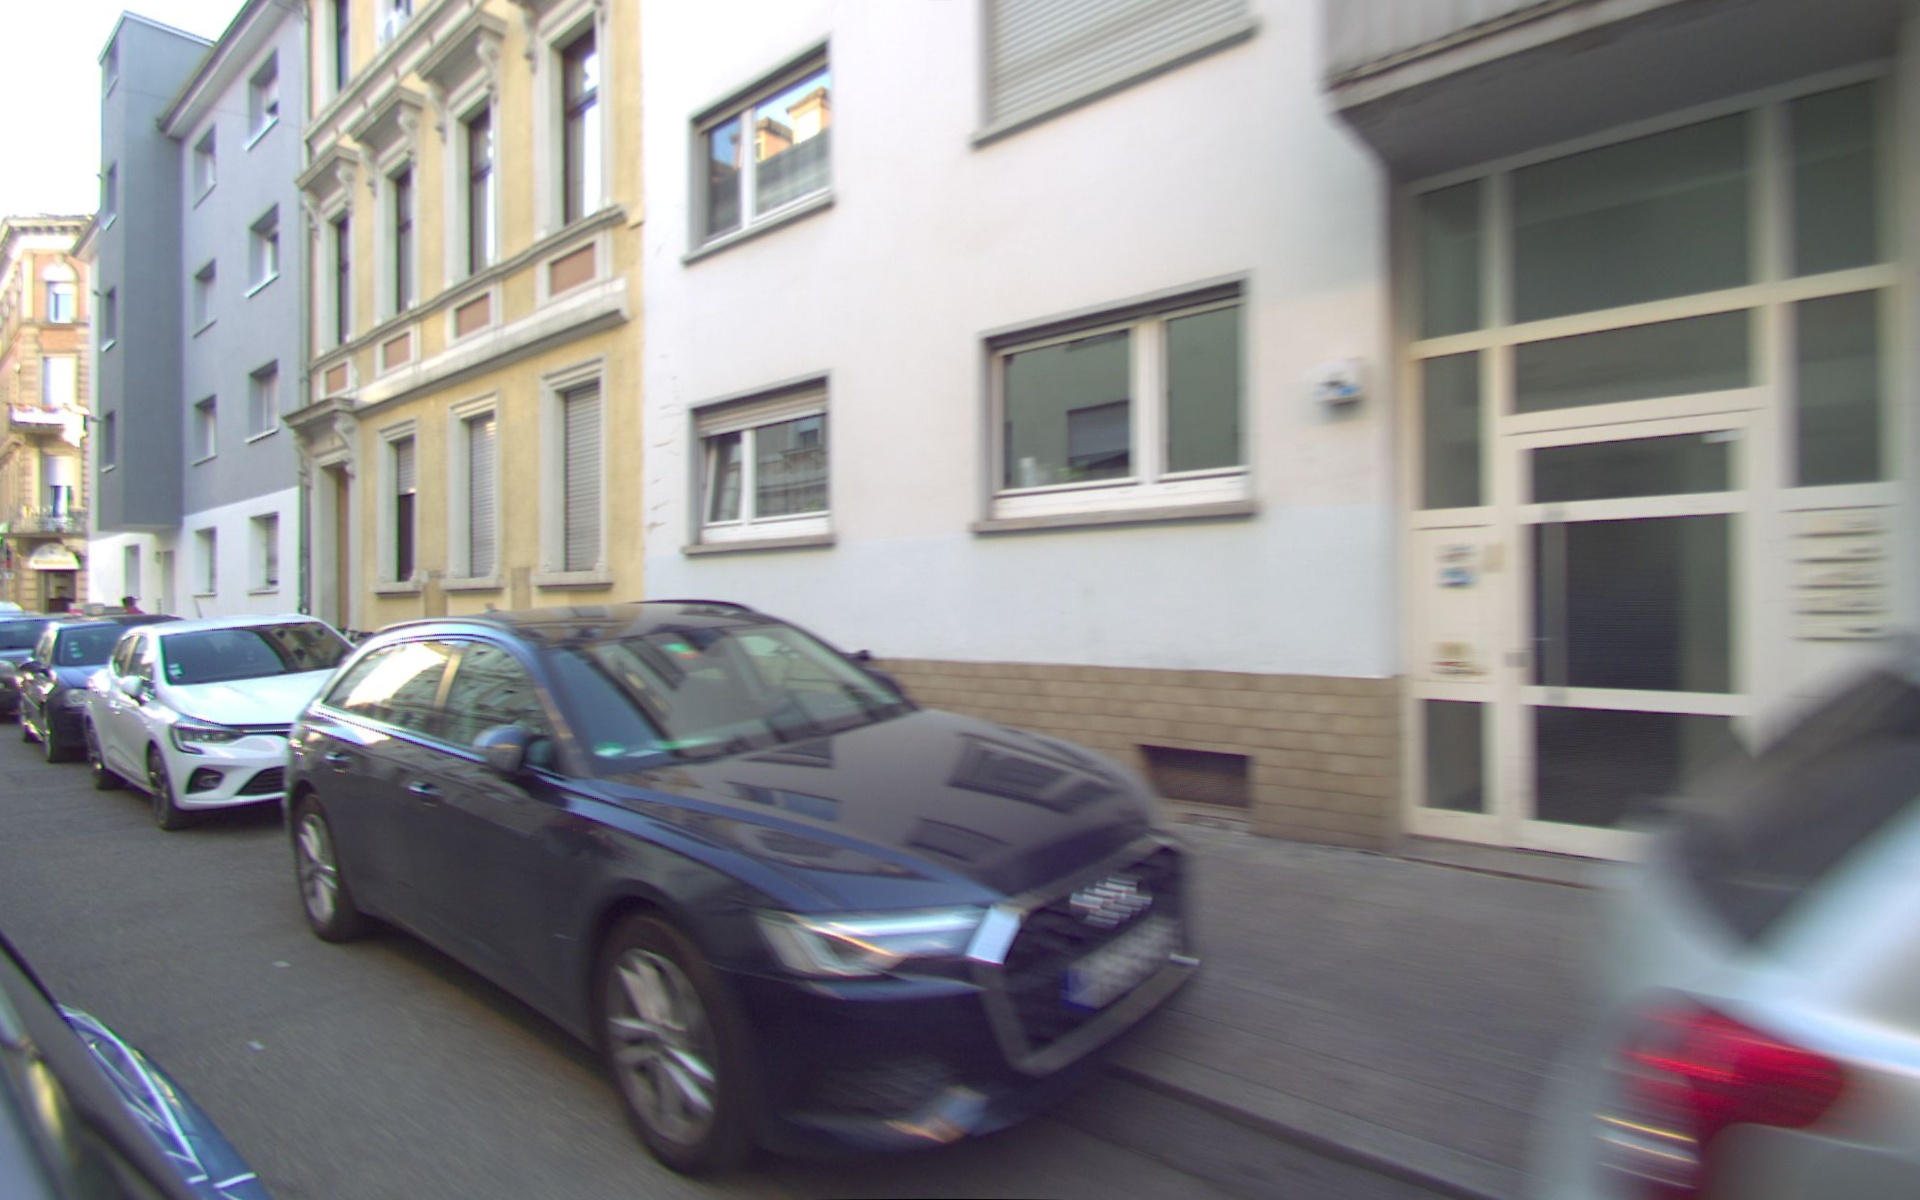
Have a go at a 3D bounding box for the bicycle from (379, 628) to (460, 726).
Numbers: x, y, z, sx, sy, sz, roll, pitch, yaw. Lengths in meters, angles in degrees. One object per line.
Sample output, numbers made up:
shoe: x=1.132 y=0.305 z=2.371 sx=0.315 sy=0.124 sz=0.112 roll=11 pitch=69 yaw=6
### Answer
bicycle: x=-6.584 y=0.900 z=12.295 sx=1.543 sy=1.123 sz=0.377 roll=-1 pitch=-2 yaw=43

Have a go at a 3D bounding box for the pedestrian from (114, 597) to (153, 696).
pedestrian: x=-15.024 y=0.834 z=18.400 sx=0.454 sy=1.769 sz=0.450 roll=-1 pitch=-2 yaw=39

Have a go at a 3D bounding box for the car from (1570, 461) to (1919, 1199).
car: x=2.970 y=0.616 z=0.427 sx=4.430 sy=1.551 sz=1.773 roll=-1 pitch=-1 yaw=40

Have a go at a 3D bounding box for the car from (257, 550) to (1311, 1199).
car: x=-1.136 y=0.726 z=4.084 sx=4.492 sy=1.551 sz=1.772 roll=-1 pitch=-1 yaw=41

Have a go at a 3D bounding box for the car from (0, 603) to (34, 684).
car: x=-22.881 y=0.994 z=23.519 sx=3.782 sy=1.810 sz=1.621 roll=-1 pitch=-2 yaw=42

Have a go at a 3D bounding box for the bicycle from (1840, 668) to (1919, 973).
bicycle: x=3.791 y=0.750 z=3.166 sx=1.543 sy=1.017 sz=0.288 roll=-1 pitch=-2 yaw=42

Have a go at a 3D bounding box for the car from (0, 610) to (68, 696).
car: x=-19.131 y=1.014 z=20.036 sx=3.779 sy=1.592 sz=1.622 roll=-1 pitch=-1 yaw=39

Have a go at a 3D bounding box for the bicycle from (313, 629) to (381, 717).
bicycle: x=-8.369 y=0.965 z=13.800 sx=1.543 sy=1.123 sz=0.377 roll=-1 pitch=-2 yaw=43

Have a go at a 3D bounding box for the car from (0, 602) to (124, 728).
car: x=-14.340 y=0.931 z=15.539 sx=3.779 sy=1.724 sz=1.622 roll=-1 pitch=-1 yaw=39

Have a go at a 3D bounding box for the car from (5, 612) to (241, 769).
car: x=-9.731 y=0.911 z=11.659 sx=3.954 sy=1.500 sz=1.620 roll=-1 pitch=-2 yaw=43

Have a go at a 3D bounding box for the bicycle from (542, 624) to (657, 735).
bicycle: x=-3.552 y=0.745 z=9.914 sx=1.542 sy=1.017 sz=0.289 roll=-1 pitch=-2 yaw=38

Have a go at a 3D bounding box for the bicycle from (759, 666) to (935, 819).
bicycle: x=-0.884 y=1.028 z=7.628 sx=1.541 sy=1.016 sz=0.289 roll=-1 pitch=-1 yaw=37

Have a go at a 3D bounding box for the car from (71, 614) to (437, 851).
car: x=-5.911 y=0.882 z=8.311 sx=3.787 sy=1.500 sz=1.621 roll=-1 pitch=-1 yaw=41
